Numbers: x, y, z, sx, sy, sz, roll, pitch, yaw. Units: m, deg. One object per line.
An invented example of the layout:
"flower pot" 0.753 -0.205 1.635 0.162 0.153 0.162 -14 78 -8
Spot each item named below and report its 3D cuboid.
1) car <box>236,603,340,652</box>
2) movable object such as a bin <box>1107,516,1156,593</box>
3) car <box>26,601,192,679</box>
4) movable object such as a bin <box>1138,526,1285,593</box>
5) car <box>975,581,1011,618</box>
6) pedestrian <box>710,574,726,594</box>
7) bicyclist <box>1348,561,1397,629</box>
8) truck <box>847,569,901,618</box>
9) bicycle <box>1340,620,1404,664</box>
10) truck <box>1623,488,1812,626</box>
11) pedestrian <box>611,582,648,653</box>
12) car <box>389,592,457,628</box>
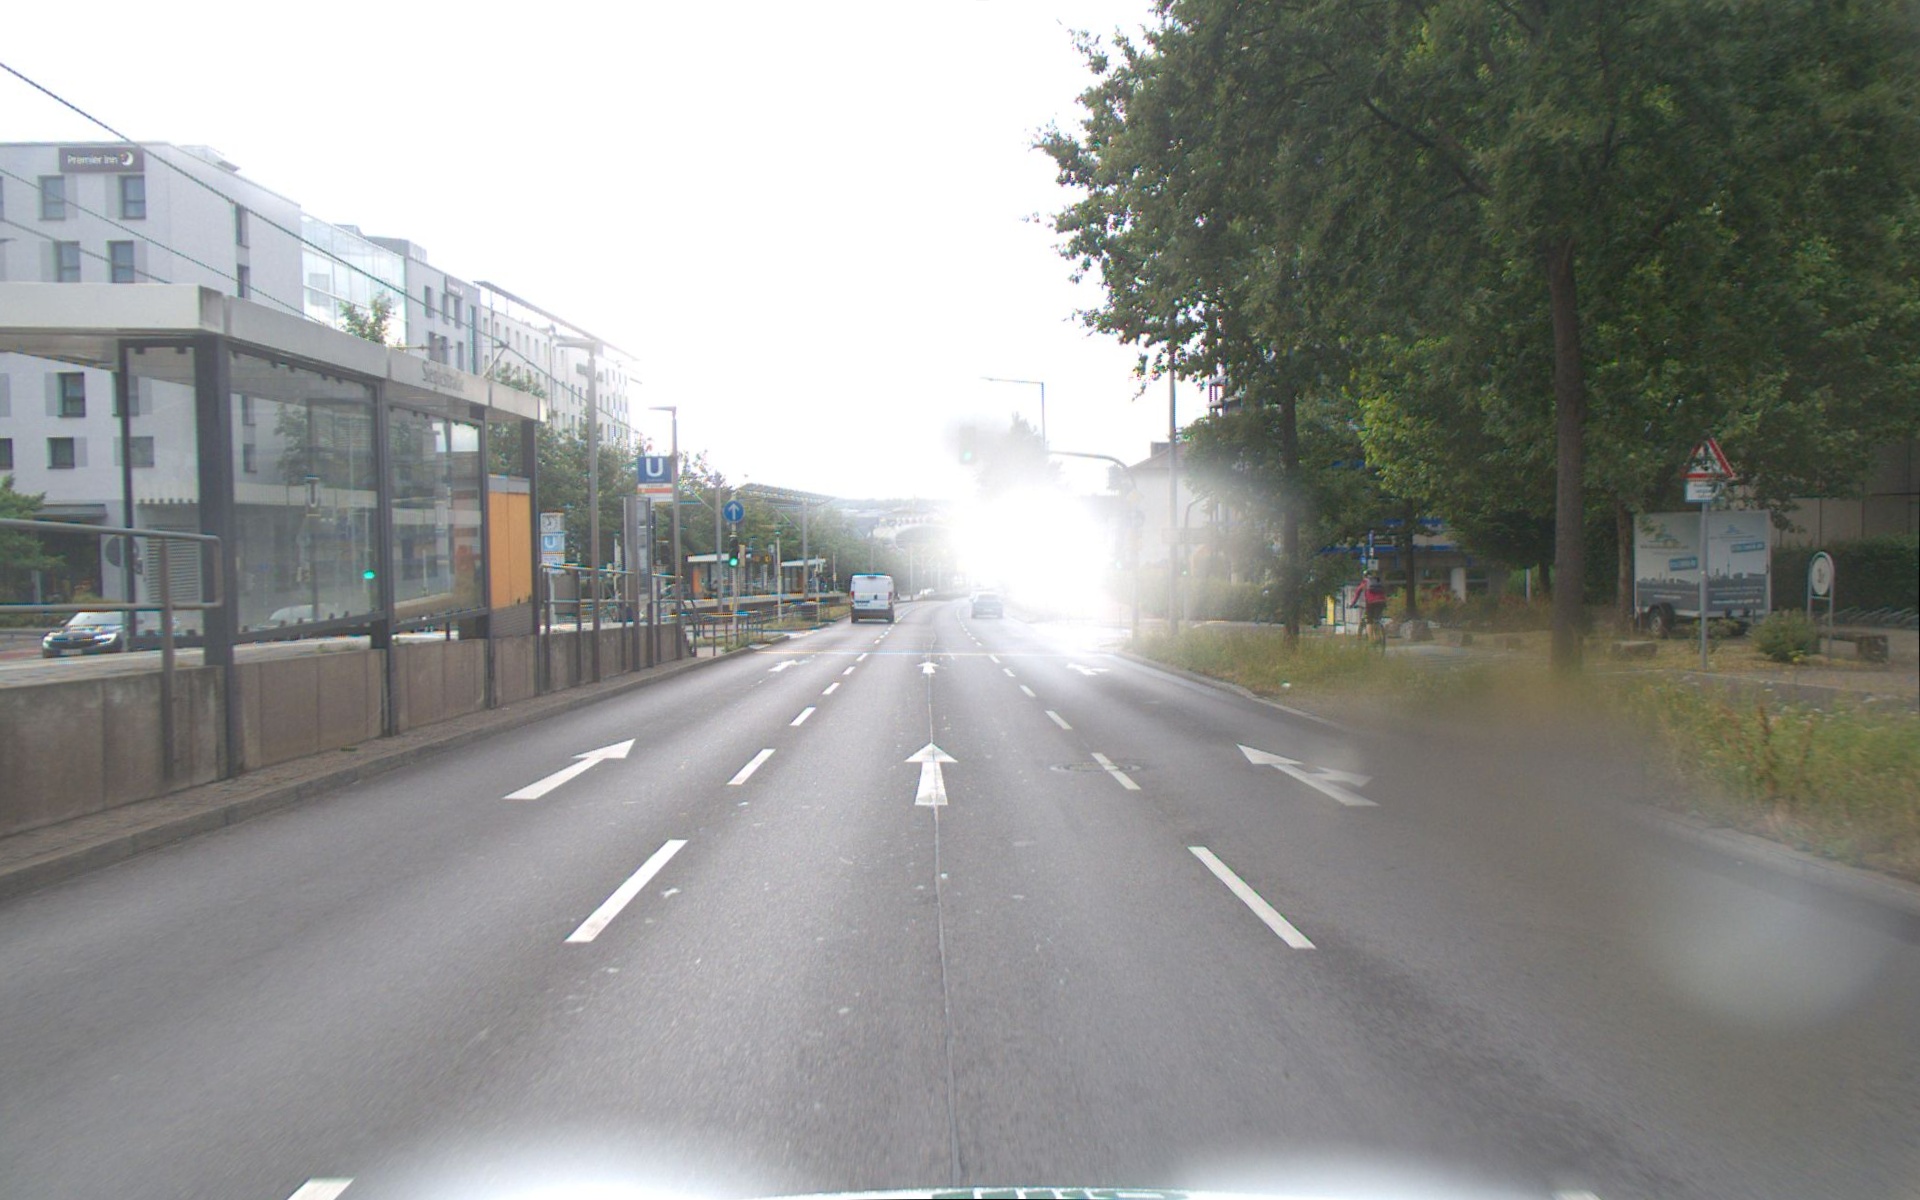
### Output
"car" -22.249 0.874 54.915 1.816 1.452 4.386 -2 1 -3
"movable object such as a bin" 13.474 -3.501 130.406 3.222 5.784 8.766 1 0 2
"car" -21.350 0.946 41.691 1.953 1.805 4.388 -1 0 -1
"movable object such as a bin" 21.383 -3.419 141.348 11.893 5.353 3.789 -1 0 -1
"car" 1.900 -0.019 93.581 1.952 2.049 3.935 1 0 2
"pedestrian" -16.039 -1.085 109.617 0.941 1.322 0.684 -1 0 0
"bicyclist" 8.312 -0.101 33.359 0.642 1.310 1.219 1 0 -1
"truck" -4.165 -0.309 80.878 2.312 2.301 5.306 1 0 0
"bicycle" 8.303 0.838 33.424 0.654 0.823 2.318 1 0 -1
"truck" 15.049 -0.812 33.091 1.712 2.562 3.996 1 0 -4
"pedestrian" -7.924 0.422 39.677 0.693 1.679 0.643 0 1 -30
"car" -22.619 0.394 69.800 1.693 1.448 3.778 -1 0 -2
